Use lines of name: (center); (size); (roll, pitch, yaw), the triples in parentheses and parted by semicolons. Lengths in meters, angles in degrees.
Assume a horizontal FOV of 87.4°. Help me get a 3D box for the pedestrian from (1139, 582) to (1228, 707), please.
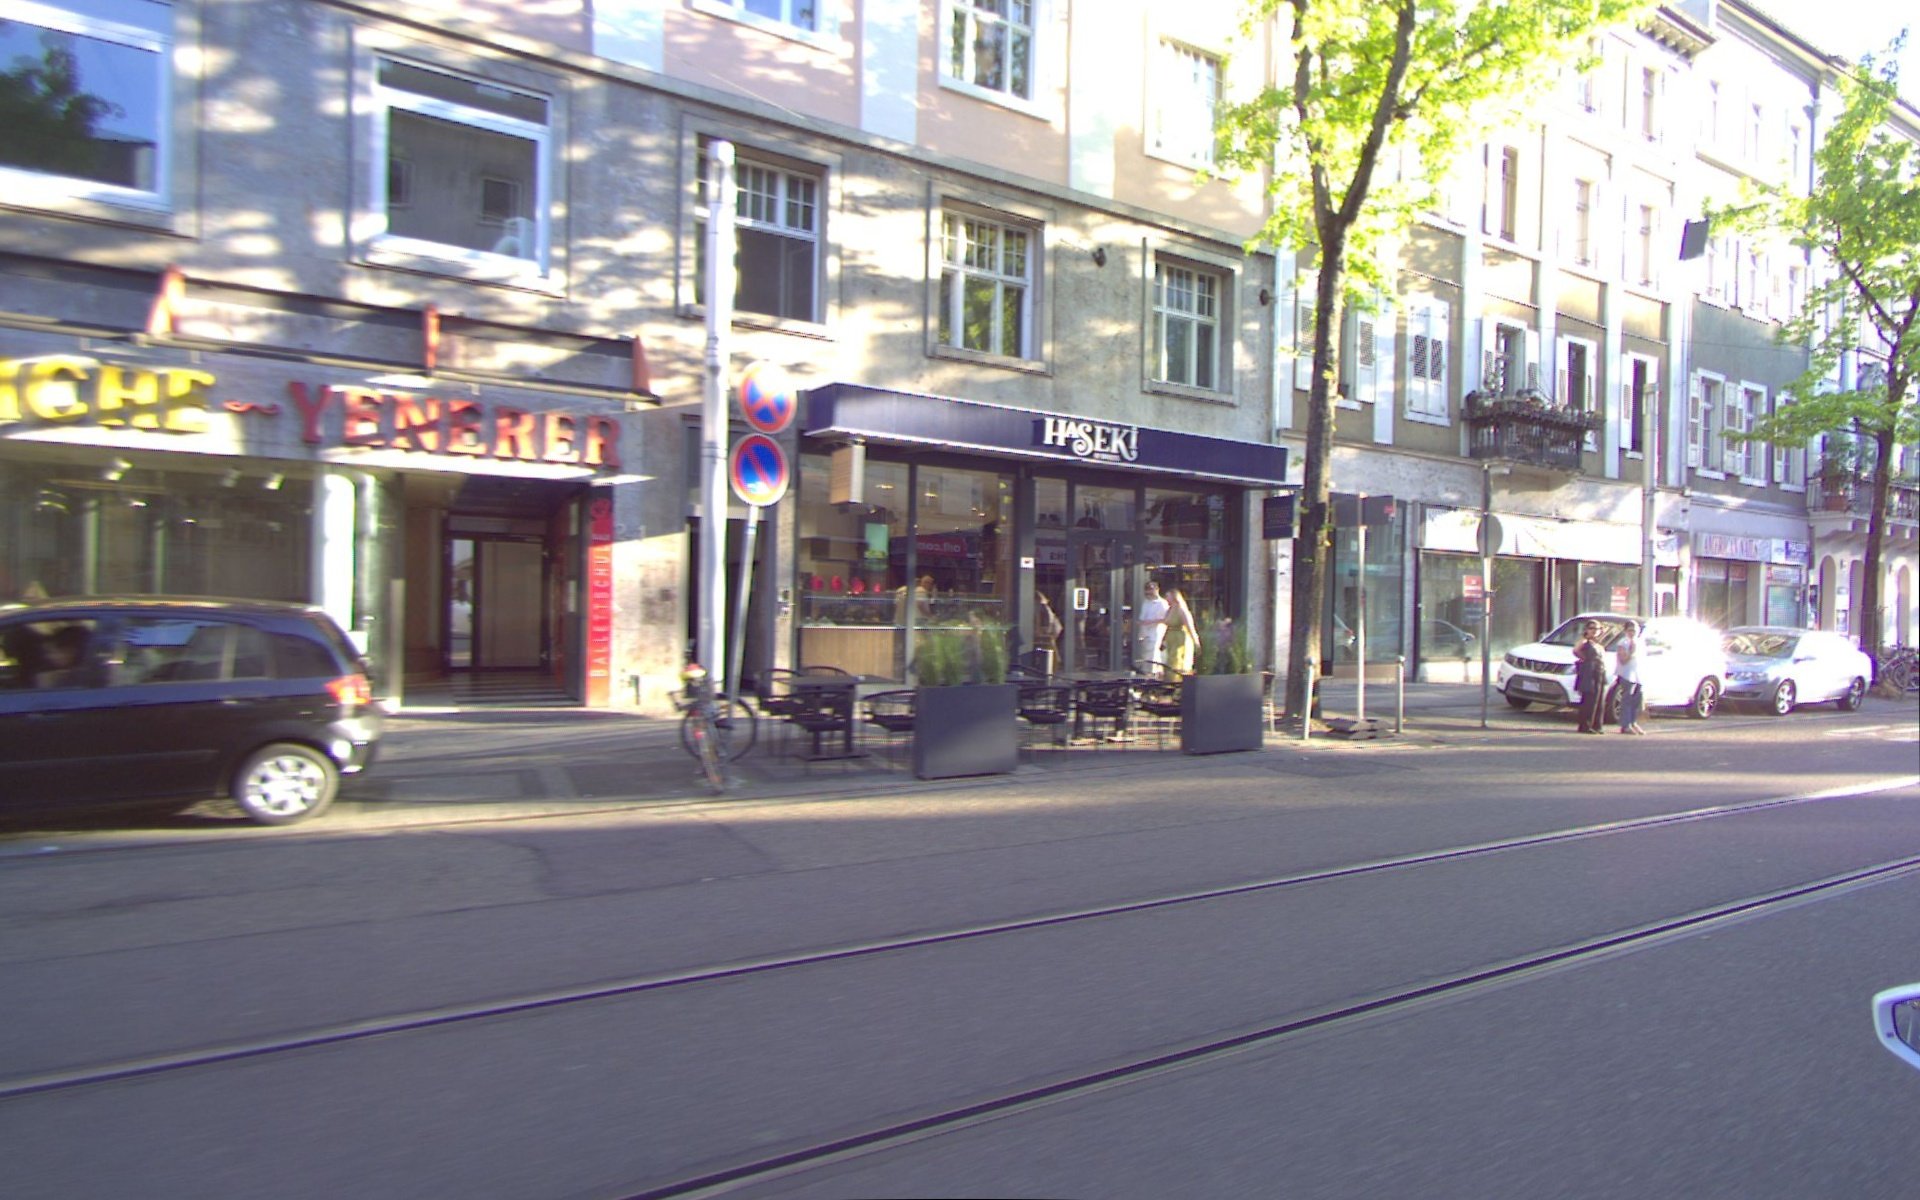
pedestrian: (3.322, 0.646, 14.940); (1.077, 1.784, 0.718); (1, 0, -29)

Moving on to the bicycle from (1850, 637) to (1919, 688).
bicycle: (22.635, 1.516, 23.894); (2.081, 1.119, 0.499); (3, 1, 36)

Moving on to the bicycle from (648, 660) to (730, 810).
bicycle: (-2.281, 1.060, 8.352); (0.426, 0.978, 1.612); (1, 2, -23)

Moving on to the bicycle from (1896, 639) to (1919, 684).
bicycle: (24.934, 1.601, 25.230); (0.494, 1.119, 2.016); (2, 1, -26)

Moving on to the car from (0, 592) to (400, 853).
car: (-5.905, 0.724, 6.680); (3.782, 1.448, 1.657); (1, 2, -30)

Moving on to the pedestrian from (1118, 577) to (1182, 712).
pedestrian: (2.956, 0.678, 15.667); (0.635, 2.040, 0.719); (1, 0, -29)

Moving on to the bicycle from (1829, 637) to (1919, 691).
bicycle: (21.781, 1.504, 23.624); (1.920, 1.119, 0.565); (3, 1, 36)

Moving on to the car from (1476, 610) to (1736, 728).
car: (10.648, 1.062, 16.528); (4.066, 1.601, 1.828); (1, 3, -29)

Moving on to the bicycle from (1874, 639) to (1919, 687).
bicycle: (23.689, 1.577, 24.490); (1.997, 1.119, 0.499); (3, 1, 36)

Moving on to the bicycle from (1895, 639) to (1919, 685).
bicycle: (24.508, 1.593, 24.800); (0.494, 1.119, 2.016); (2, 1, -26)

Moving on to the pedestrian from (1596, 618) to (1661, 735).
pedestrian: (9.410, 1.062, 14.146); (0.626, 1.590, 0.519); (2, -1, -29)

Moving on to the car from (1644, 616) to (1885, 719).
car: (15.085, 1.194, 18.782); (4.645, 1.601, 1.828); (1, 3, -29)

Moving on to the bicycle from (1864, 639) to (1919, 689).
bicycle: (23.185, 1.580, 24.202); (1.997, 1.119, 0.499); (3, 1, 36)

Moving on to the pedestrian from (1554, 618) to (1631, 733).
pedestrian: (8.705, 1.022, 13.827); (0.720, 1.529, 0.617); (2, -1, -29)
